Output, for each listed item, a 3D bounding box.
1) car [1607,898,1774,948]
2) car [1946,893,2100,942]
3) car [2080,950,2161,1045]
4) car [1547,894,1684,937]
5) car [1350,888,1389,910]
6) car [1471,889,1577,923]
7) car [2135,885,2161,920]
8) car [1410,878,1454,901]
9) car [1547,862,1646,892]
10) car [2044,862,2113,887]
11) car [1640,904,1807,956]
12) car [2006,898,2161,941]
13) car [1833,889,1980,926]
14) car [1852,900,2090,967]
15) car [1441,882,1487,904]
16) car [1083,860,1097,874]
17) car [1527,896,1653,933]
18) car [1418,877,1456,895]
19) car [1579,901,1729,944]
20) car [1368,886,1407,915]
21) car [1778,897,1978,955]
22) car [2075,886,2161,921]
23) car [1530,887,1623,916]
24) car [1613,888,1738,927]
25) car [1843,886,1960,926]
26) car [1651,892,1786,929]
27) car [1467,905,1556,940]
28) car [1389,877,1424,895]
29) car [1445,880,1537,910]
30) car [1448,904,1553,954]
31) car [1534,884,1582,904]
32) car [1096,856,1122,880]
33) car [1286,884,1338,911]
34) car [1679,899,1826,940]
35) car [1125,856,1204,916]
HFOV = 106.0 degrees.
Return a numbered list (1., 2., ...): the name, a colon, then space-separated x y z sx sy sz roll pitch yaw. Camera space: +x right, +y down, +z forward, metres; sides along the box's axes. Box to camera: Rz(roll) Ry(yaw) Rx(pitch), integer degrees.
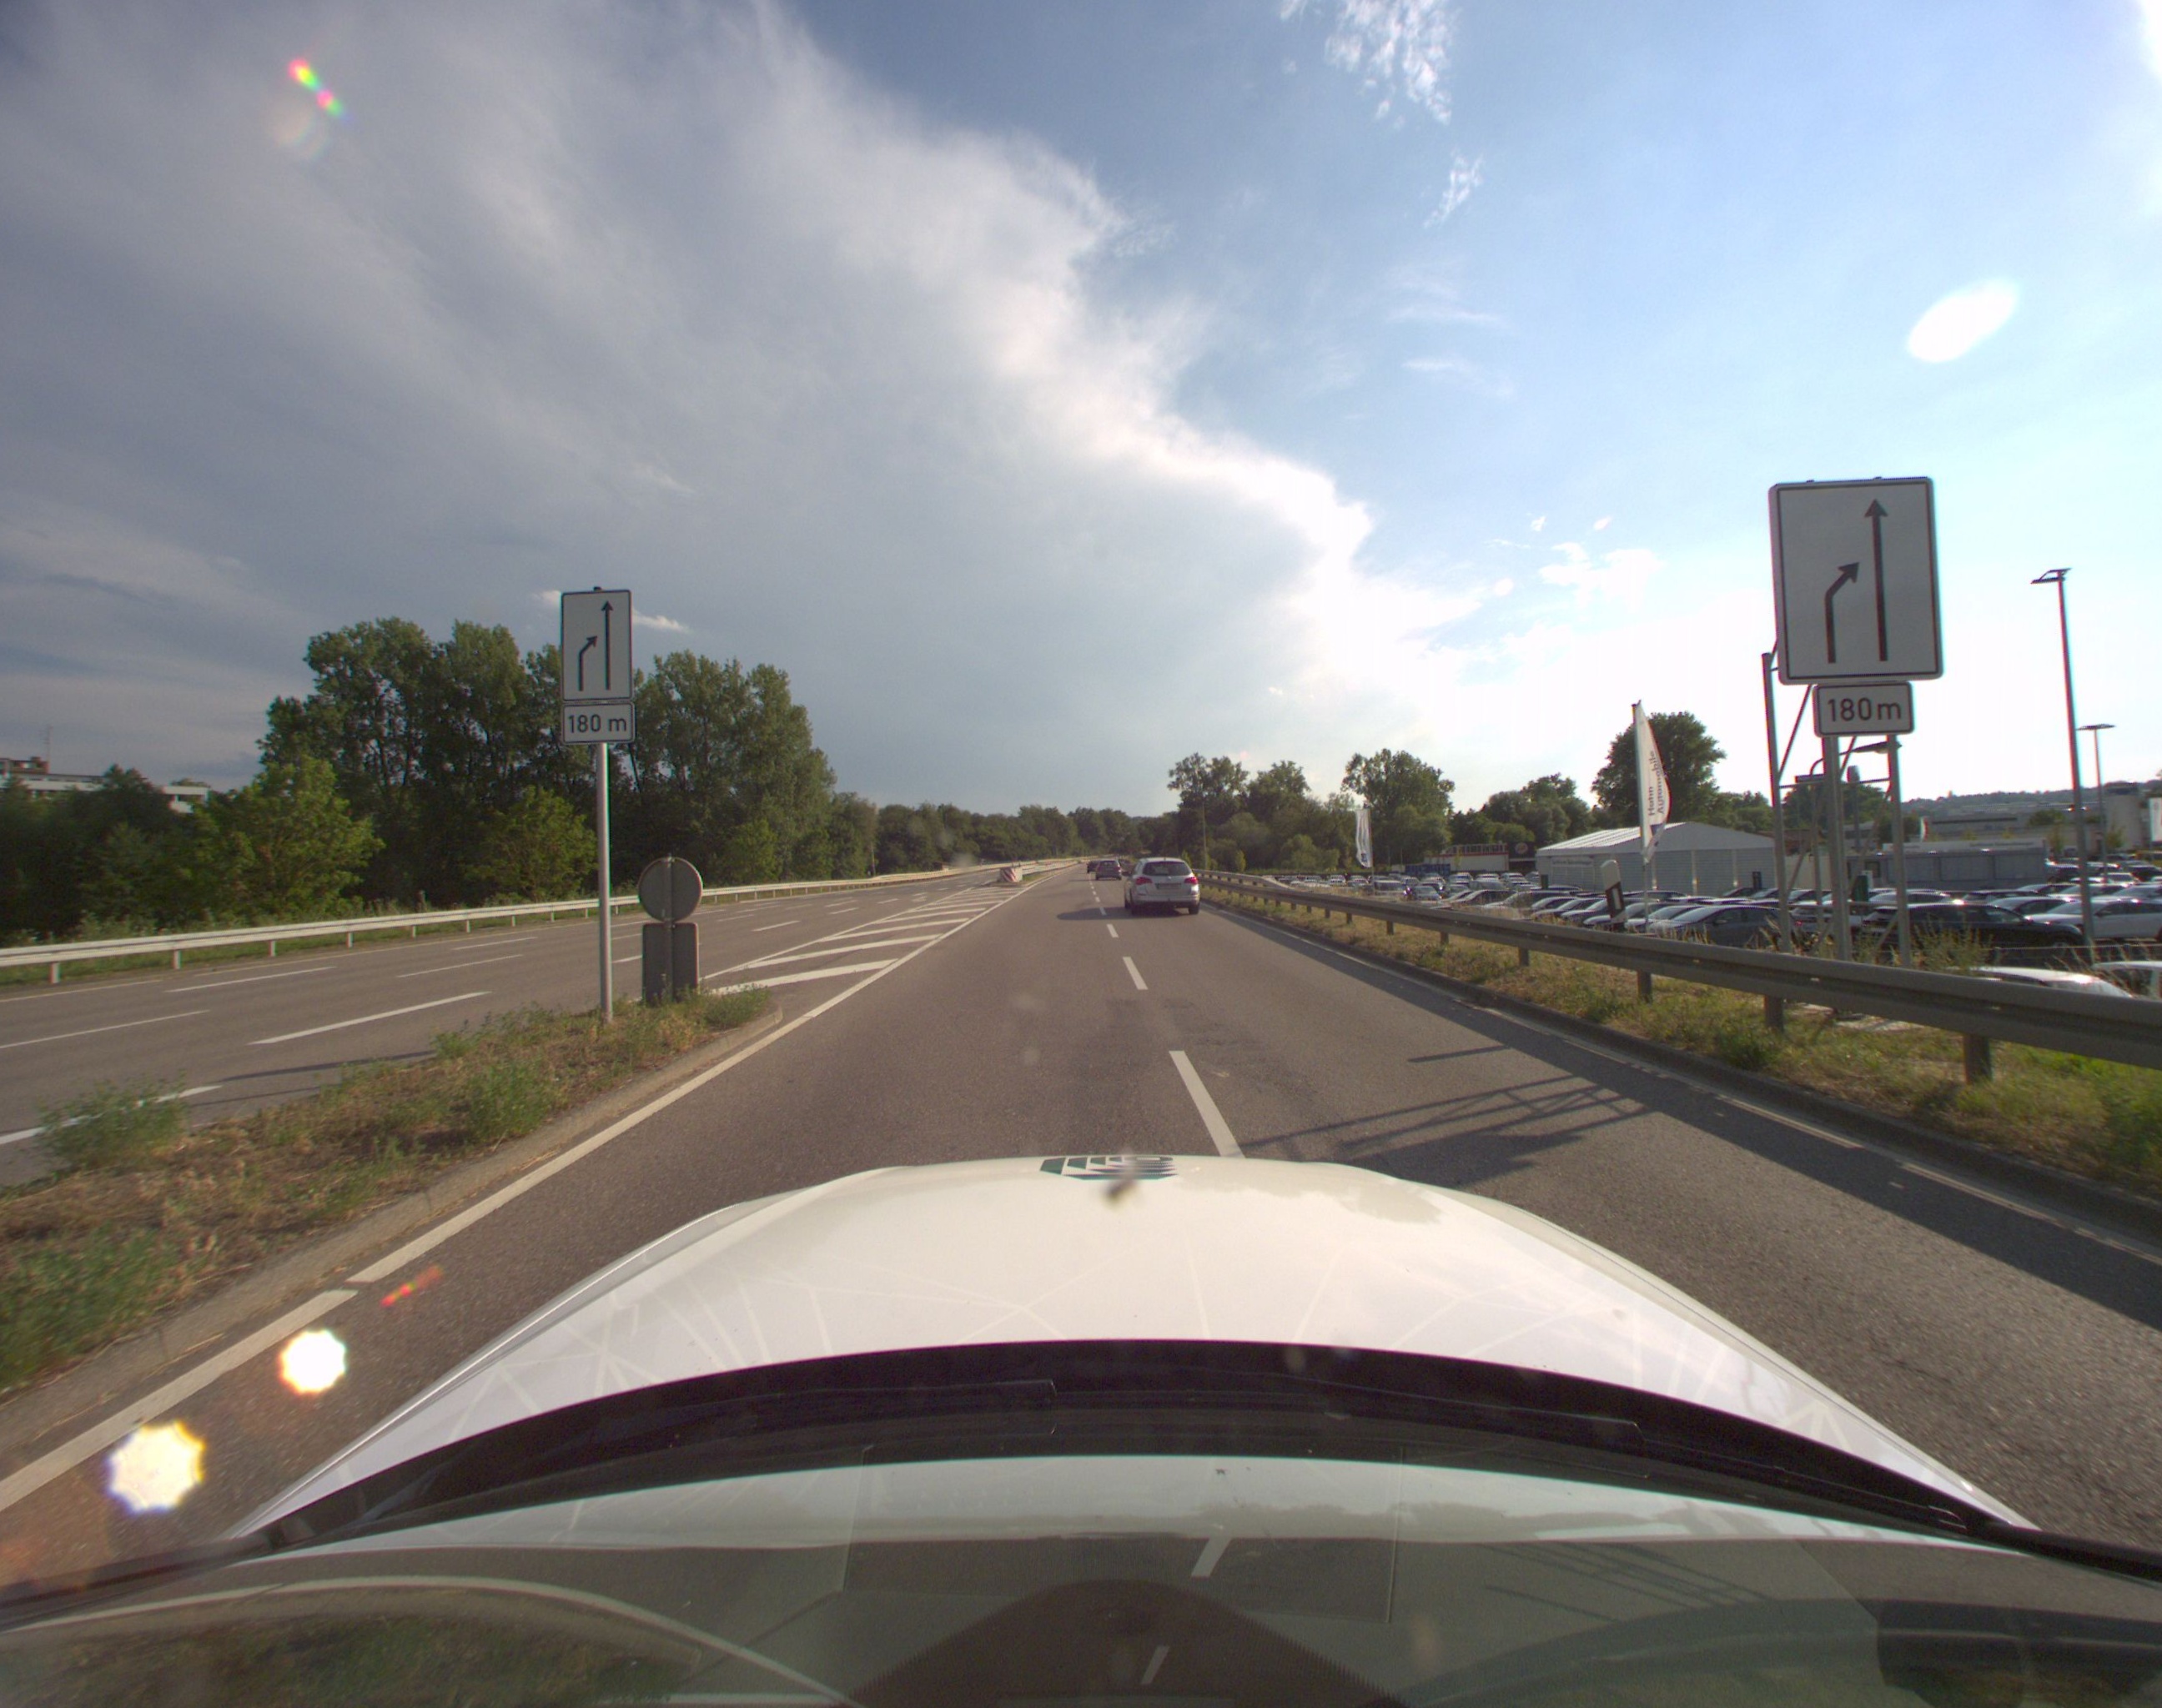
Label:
1. car: 21.543 2.404 28.953 4.400 1.636 1.890 0 -1 8
2. car: 41.393 2.756 35.922 3.956 2.014 2.008 -1 -1 16
3. car: 20.643 2.686 14.407 1.589 1.611 3.673 0 -1 5
4. car: 22.108 2.528 33.854 4.393 1.714 1.804 0 -1 8
5. car: 23.095 3.560 65.379 1.870 1.636 4.737 0 -1 6
6. car: 22.555 2.622 41.618 4.393 1.667 1.845 0 -1 8
7. car: 49.265 2.105 35.255 4.302 1.543 1.806 -1 -1 12
8. car: 24.785 2.449 57.678 1.868 1.522 4.743 -1 -1 11
9. car: 29.167 1.291 46.195 4.400 1.636 1.890 0 -1 8
10. car: 61.262 1.243 49.990 4.007 1.456 1.790 0 -2 -26
11. car: 20.826 2.450 26.544 3.955 1.543 1.789 0 -1 4
12. car: 35.239 2.231 28.025 4.393 1.369 1.804 0 -1 8
13. car: 36.542 2.340 36.144 4.393 1.543 1.804 0 -1 8
14. car: 25.122 2.223 23.154 4.393 1.714 1.804 -1 -2 8
15. car: 30.421 3.089 64.821 1.870 1.636 4.737 0 -1 6
16. car: 0.992 1.479 89.848 1.487 1.476 3.359 0 -1 1
17. car: 22.640 2.696 36.381 4.393 1.543 1.804 0 -1 8
18. car: 34.458 3.099 79.007 1.871 1.636 4.733 0 -1 3
19. car: 21.932 2.599 31.340 4.393 1.543 1.804 0 -1 8
20. car: 22.177 3.312 59.121 1.868 1.931 4.743 -1 -1 11
21. car: 25.602 2.283 26.319 4.393 1.714 1.804 0 -1 8
22. car: 49.955 2.303 38.038 4.302 1.543 1.806 -1 -1 12
23. car: 29.680 2.819 48.881 4.400 1.636 1.890 0 -1 8
24. car: 28.116 2.572 38.627 4.393 1.704 1.804 -2 -5 8
25. car: 42.795 2.688 42.556 3.961 1.956 1.787 -1 -1 11
26. car: 28.173 2.474 36.125 4.393 1.543 1.804 0 -1 8
27. car: 20.664 3.292 39.189 3.455 1.574 1.632 0 -1 8
28. car: 31.136 3.008 78.026 1.871 1.636 4.735 0 -1 5
29. car: 23.398 2.327 46.610 4.393 1.607 1.805 0 0 8
30. car: 15.571 2.752 30.518 1.788 1.543 4.435 0 -1 2
31. car: 40.924 3.401 69.989 1.870 1.636 4.580 0 -1 6
32. car: 1.914 0.942 55.868 1.661 1.574 4.001 0 -1 1
33. car: 15.346 2.866 54.345 1.876 1.626 4.723 0 -1 -4
34. car: 27.705 2.688 33.720 4.393 1.543 1.804 0 -1 8
35. car: 2.198 0.835 22.345 1.803 1.486 4.000 0 -1 1
